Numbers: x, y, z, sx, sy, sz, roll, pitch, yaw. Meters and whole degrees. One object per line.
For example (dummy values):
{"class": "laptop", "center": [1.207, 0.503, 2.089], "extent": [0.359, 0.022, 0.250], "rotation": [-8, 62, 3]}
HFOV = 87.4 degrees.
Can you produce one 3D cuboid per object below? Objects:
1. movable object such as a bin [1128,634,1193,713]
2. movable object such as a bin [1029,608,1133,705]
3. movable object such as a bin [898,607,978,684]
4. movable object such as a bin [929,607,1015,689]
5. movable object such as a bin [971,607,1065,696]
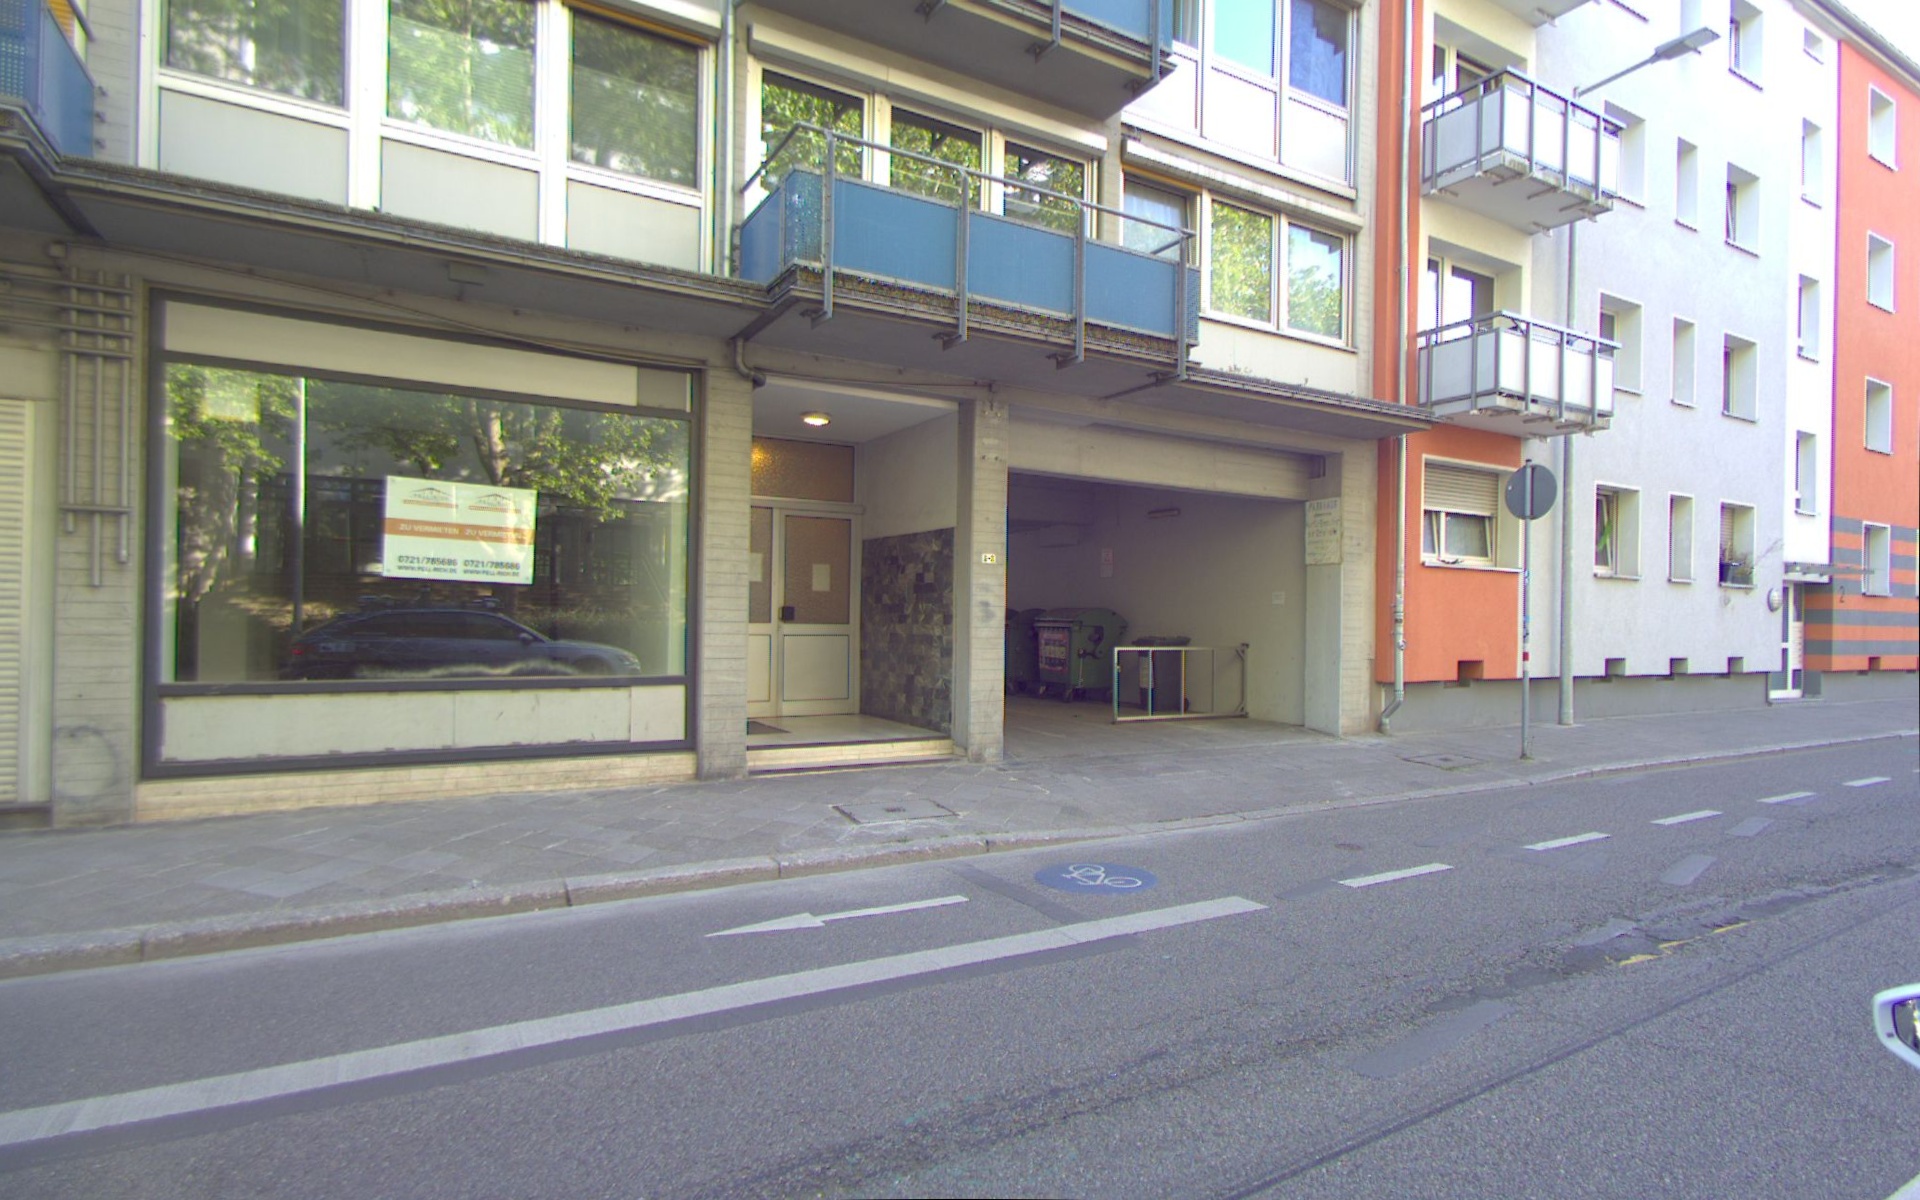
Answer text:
{"class": "movable object such as a bin", "center": [2.889, 1.042, 14.505], "extent": [0.667, 1.079, 0.639], "rotation": [1, 0, -30]}
{"class": "movable object such as a bin", "center": [1.892, 0.859, 15.815], "extent": [1.116, 1.444, 1.201], "rotation": [1, 0, -30]}
{"class": "movable object such as a bin", "center": [-0.437, 0.865, 19.622], "extent": [1.116, 1.444, 1.201], "rotation": [1, 0, -30]}
{"class": "movable object such as a bin", "center": [0.210, 0.859, 18.473], "extent": [1.116, 1.444, 1.201], "rotation": [1, 0, -30]}
{"class": "movable object such as a bin", "center": [0.980, 0.853, 17.175], "extent": [1.116, 1.444, 1.201], "rotation": [1, 0, -30]}
